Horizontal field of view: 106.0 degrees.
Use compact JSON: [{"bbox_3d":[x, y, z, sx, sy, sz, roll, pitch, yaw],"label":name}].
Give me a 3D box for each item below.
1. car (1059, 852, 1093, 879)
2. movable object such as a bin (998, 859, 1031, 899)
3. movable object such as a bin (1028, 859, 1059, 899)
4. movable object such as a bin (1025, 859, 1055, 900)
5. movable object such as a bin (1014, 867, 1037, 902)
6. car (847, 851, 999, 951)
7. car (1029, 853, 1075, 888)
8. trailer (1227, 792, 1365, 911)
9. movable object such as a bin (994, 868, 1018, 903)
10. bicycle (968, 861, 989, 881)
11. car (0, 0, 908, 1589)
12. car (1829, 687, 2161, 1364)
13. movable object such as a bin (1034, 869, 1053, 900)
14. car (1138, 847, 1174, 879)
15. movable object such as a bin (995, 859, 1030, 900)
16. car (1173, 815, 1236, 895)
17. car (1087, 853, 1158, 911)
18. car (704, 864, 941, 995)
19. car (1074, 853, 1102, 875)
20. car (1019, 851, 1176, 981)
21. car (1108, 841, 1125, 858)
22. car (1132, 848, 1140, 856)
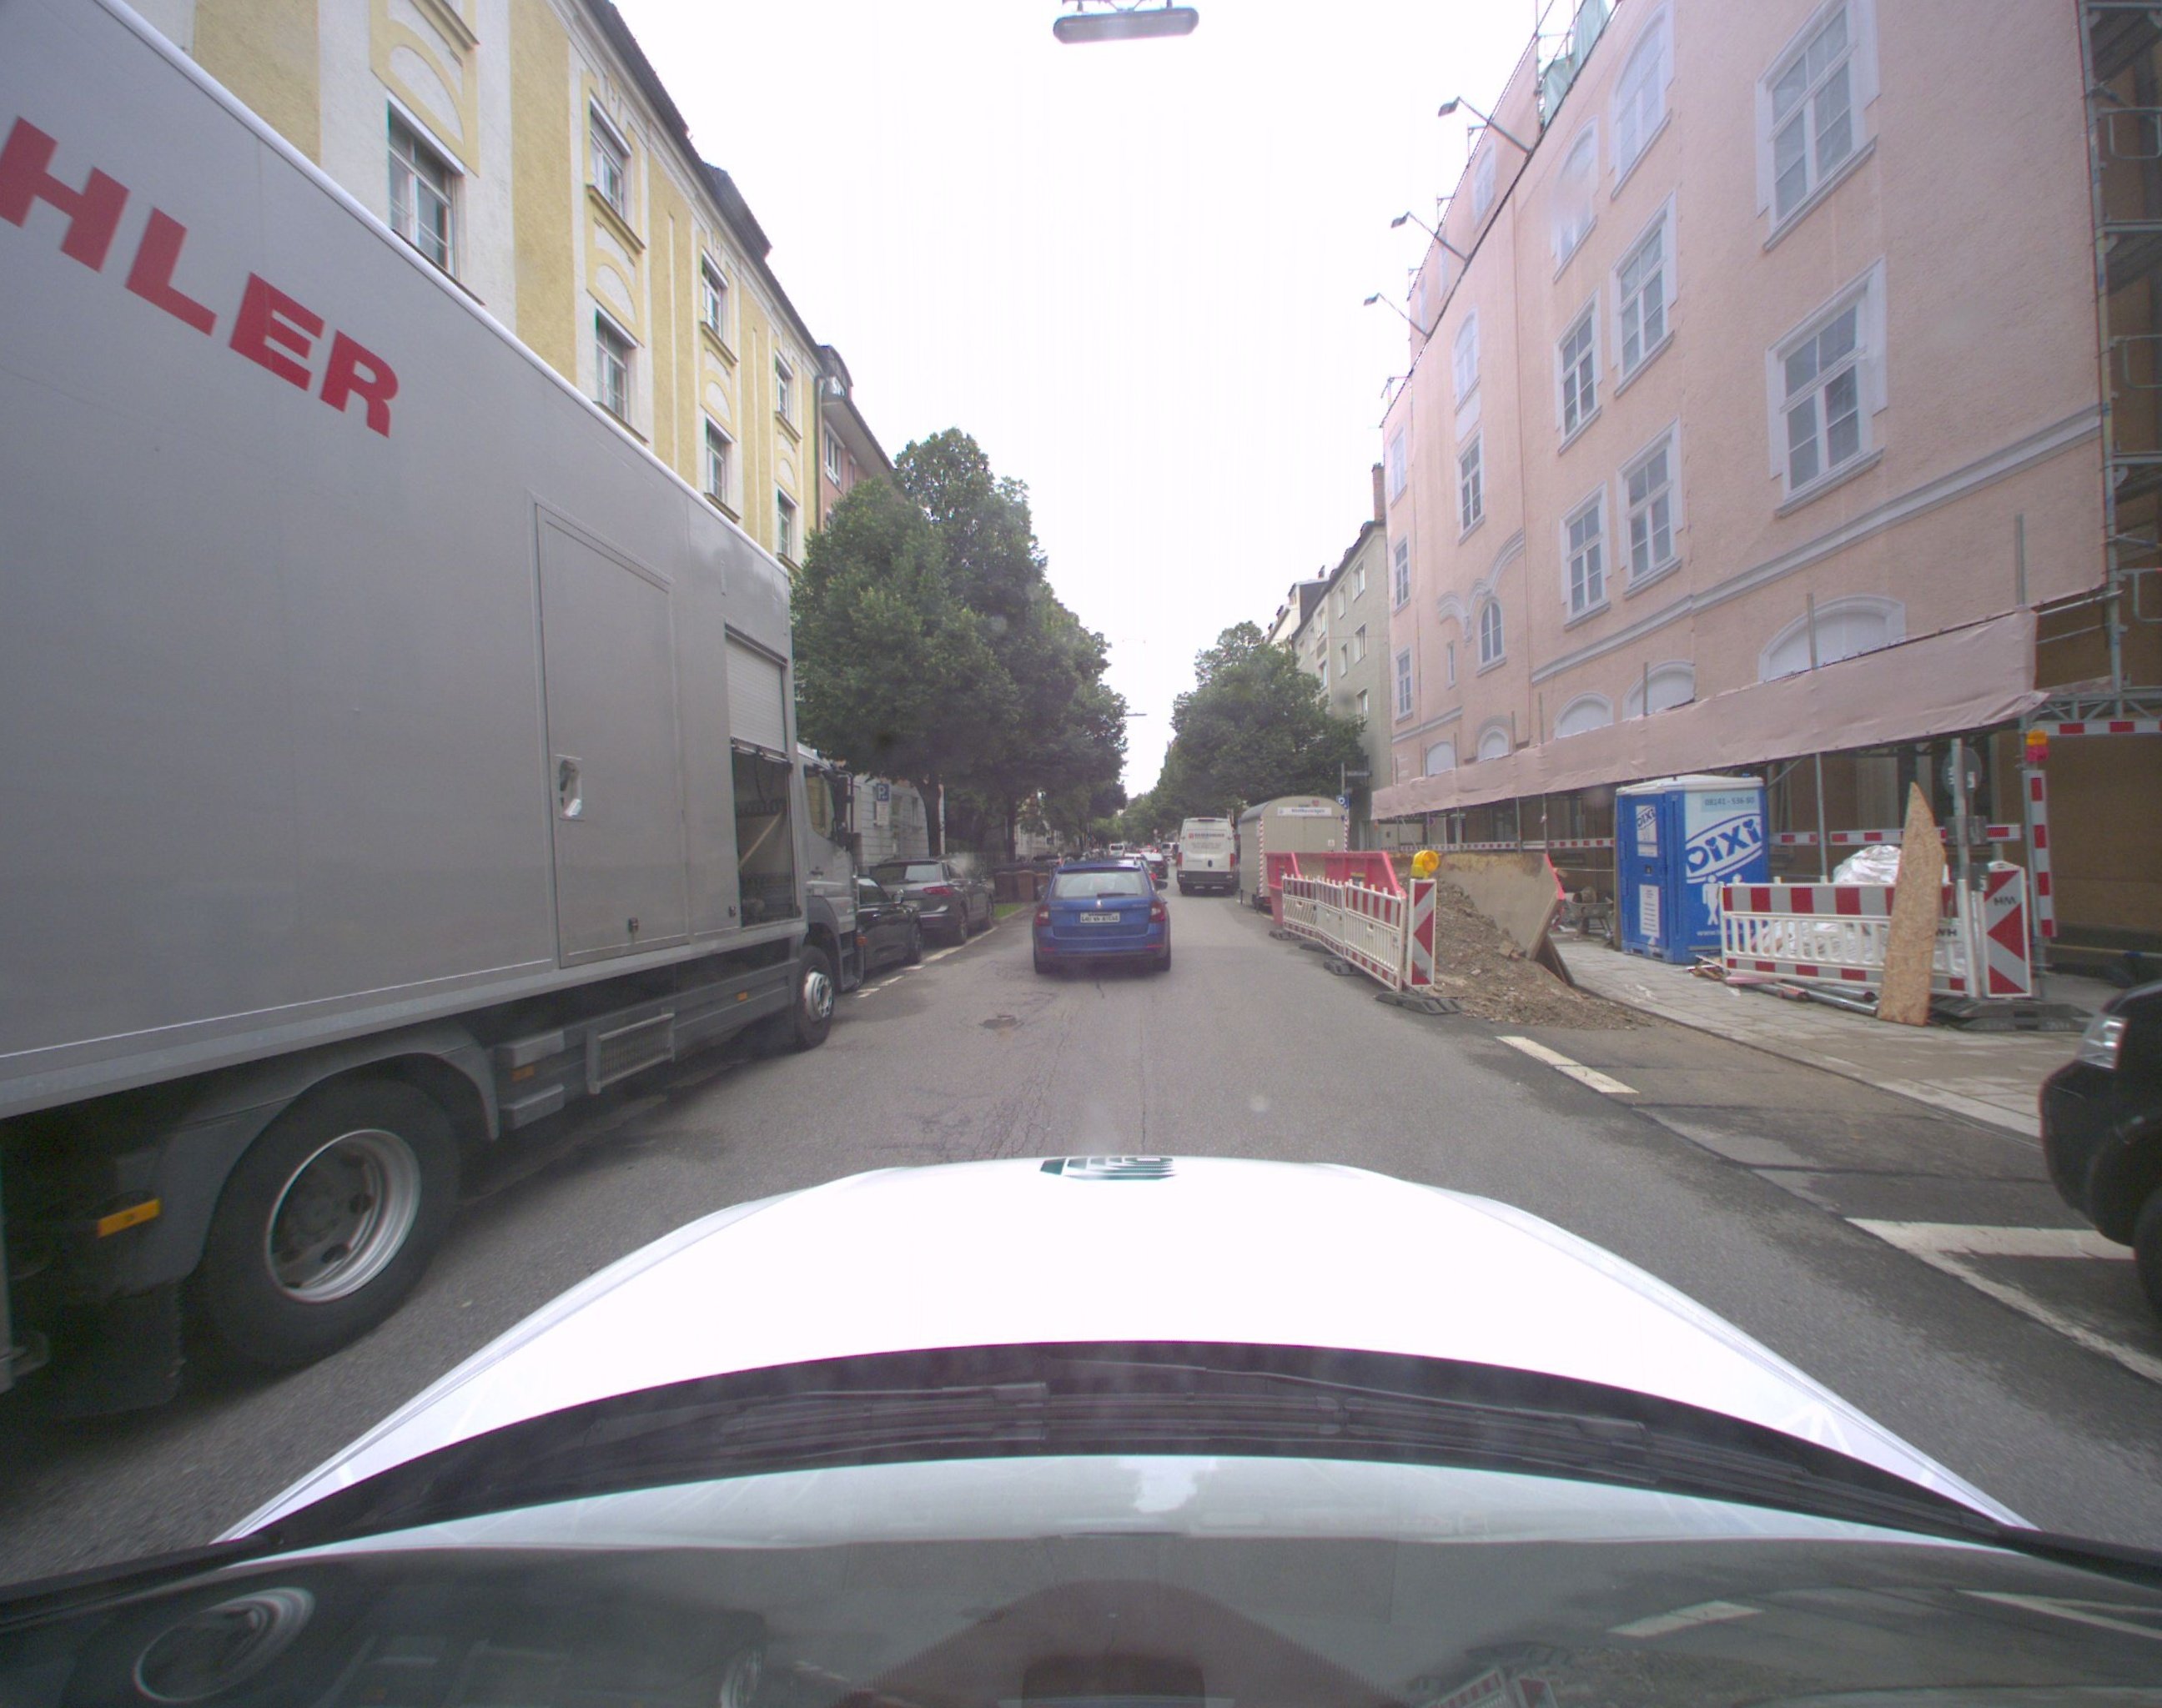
[{"bbox_3d":[-0.225,0.639,47.723,1.805,1.478,4.002,-1,0,2],"label":"car"},{"bbox_3d":[-2.451,0.910,30.263,1.054,1.376,1.095,-3,0,0],"label":"movable object such as a bin"},{"bbox_3d":[-1.395,0.908,30.289,1.017,1.376,1.103,-3,0,0],"label":"movable object such as a bin"},{"bbox_3d":[-1.459,0.895,29.192,0.915,1.376,1.079,-3,0,0],"label":"movable object such as a bin"},{"bbox_3d":[-1.926,1.056,28.298,0.709,1.148,0.636,-3,0,0],"label":"movable object such as a bin"},{"bbox_3d":[-2.902,0.800,15.925,1.776,1.628,4.190,-2,0,5],"label":"car"},{"bbox_3d":[-1.269,0.692,37.021,1.805,1.478,4.002,-1,0,2],"label":"car"},{"bbox_3d":[5.755,-0.036,22.899,2.491,2.840,6.908,0,0,4],"label":"trailer"},{"bbox_3d":[-2.593,1.095,28.278,0.718,1.138,0.658,-3,0,0],"label":"movable object such as a bin"},{"bbox_3d":[-5.746,0.934,45.631,0.632,1.067,2.391,-2,0,5],"label":"bicycle"},{"bbox_3d":[-3.542,-0.330,4.268,2.800,3.817,8.731,-2,0,4],"label":"car"},{"bbox_3d":[3.975,0.425,0.772,2.072,1.921,5.146,0,-2,5],"label":"car"},{"bbox_3d":[-1.307,1.062,28.327,0.545,1.020,0.636,-3,0,0],"label":"movable object such as a bin"},{"bbox_3d":[4.182,0.476,46.038,1.859,1.696,4.351,0,0,3],"label":"car"},{"bbox_3d":[-2.455,0.886,29.161,1.078,1.376,1.083,-3,0,0],"label":"movable object such as a bin"},{"bbox_3d":[4.610,0.046,30.072,2.100,2.664,5.515,0,0,10],"label":"car"},{"bbox_3d":[1.178,0.694,22.117,1.733,1.422,3.668,-1,0,5],"label":"car"},{"bbox_3d":[-3.276,0.890,11.125,1.691,1.409,3.714,-2,0,6],"label":"car"},{"bbox_3d":[0.563,0.719,59.751,1.804,1.478,4.004,-1,0,4],"label":"car"},{"bbox_3d":[0.379,0.728,11.581,1.780,1.460,4.320,-2,0,5],"label":"car"},{"bbox_3d":[4.008,-0.479,92.494,1.860,1.870,4.350,0,0,2],"label":"car"},{"bbox_3d":[13.580,-0.499,201.442,1.860,1.739,4.349,-2,0,2],"label":"car"}]
